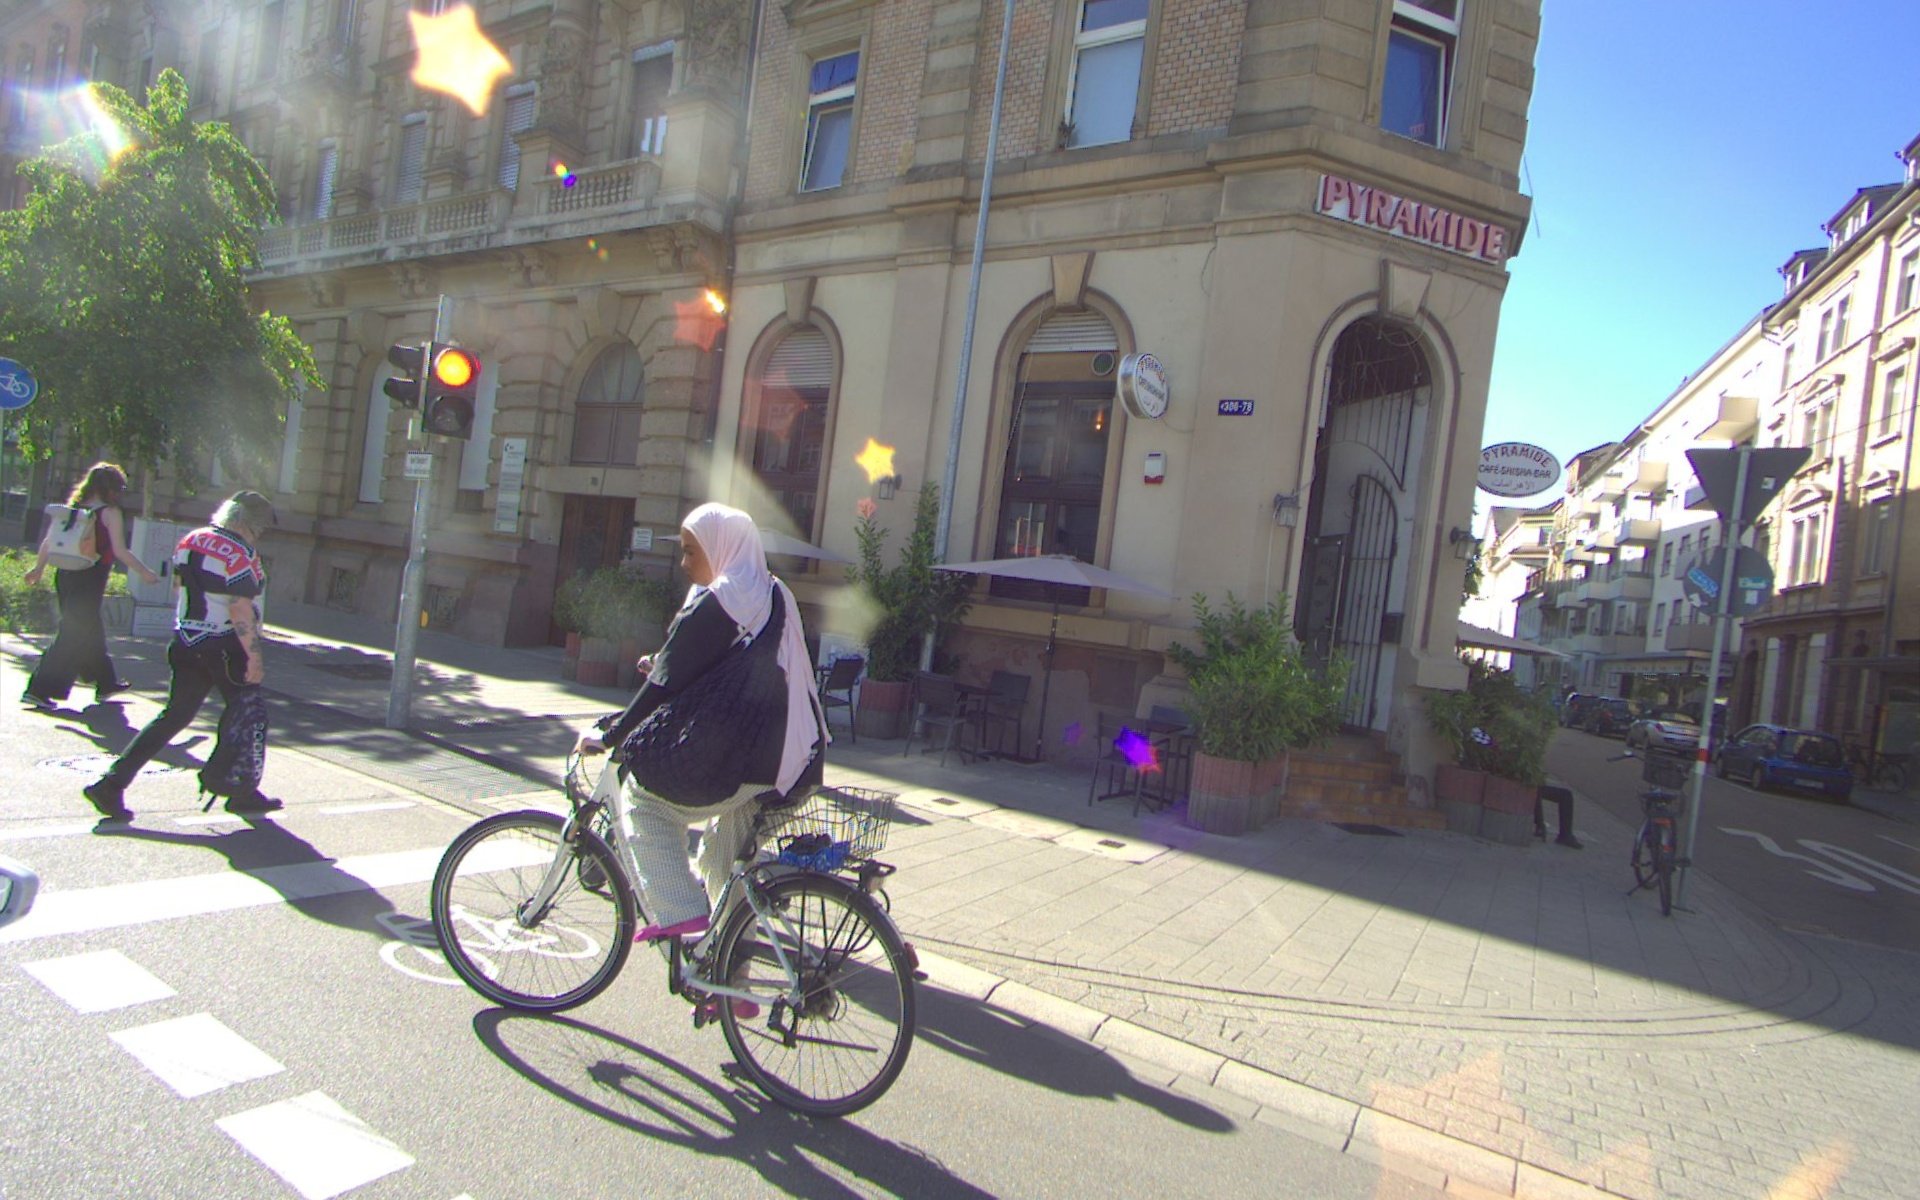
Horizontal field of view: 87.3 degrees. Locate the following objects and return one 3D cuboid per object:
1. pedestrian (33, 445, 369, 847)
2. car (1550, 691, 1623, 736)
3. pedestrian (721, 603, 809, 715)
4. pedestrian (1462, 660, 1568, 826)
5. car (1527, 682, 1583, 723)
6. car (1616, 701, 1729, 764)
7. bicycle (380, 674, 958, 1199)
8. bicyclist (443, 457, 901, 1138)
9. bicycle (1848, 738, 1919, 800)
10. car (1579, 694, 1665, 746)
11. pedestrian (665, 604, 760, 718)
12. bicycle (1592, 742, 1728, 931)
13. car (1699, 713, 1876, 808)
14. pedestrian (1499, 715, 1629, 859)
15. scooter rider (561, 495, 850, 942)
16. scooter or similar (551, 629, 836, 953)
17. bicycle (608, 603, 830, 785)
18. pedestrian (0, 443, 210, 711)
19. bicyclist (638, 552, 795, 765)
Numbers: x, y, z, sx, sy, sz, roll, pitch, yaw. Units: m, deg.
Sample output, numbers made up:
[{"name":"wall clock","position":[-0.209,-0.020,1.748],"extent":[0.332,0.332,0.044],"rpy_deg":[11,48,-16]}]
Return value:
[{"name":"pedestrian","position":[-3.890,0.215,5.197],"extent":[0.953,1.809,0.867],"rpy_deg":[7,-1,25]},{"name":"car","position":[25.851,4.650,41.655],"extent":[1.769,1.449,3.773],"rpy_deg":[7,-1,22]},{"name":"pedestrian","position":[-2.360,0.703,12.192],"extent":[0.624,1.252,0.706],"rpy_deg":[7,2,31]},{"name":"pedestrian","position":[6.608,1.679,12.039],"extent":[0.852,1.781,0.909],"rpy_deg":[7,-1,25]},{"name":"car","position":[30.111,5.145,51.015],"extent":[1.769,1.685,3.772],"rpy_deg":[7,-1,23]},{"name":"car","position":[21.832,4.012,30.994],"extent":[1.769,1.350,4.000],"rpy_deg":[9,0,22]},{"name":"bicycle","position":[-0.967,0.917,3.143],"extent":[1.762,1.105,0.558],"rpy_deg":[7,-2,31]},{"name":"bicyclist","position":[-0.869,0.514,3.138],"extent":[0.854,1.731,0.781],"rpy_deg":[7,-2,31]},{"name":"bicycle","position":[22.189,4.011,23.695],"extent":[0.621,1.192,2.014],"rpy_deg":[7,0,1]},{"name":"car","position":[24.070,4.311,36.710],"extent":[1.769,1.449,3.773],"rpy_deg":[7,-1,22]},{"name":"pedestrian","position":[-2.811,0.687,11.442],"extent":[0.624,1.193,0.706],"rpy_deg":[7,2,31]},{"name":"bicycle","position":[5.697,1.841,8.205],"extent":[0.643,1.186,1.818],"rpy_deg":[11,2,35]},{"name":"car","position":[18.503,3.531,22.723],"extent":[1.769,1.437,4.000],"rpy_deg":[9,0,22]},{"name":"pedestrian","position":[6.105,1.858,10.229],"extent":[0.917,1.228,0.852],"rpy_deg":[7,-1,25]},{"name":"scooter rider","position":[-1.207,0.516,4.814],"extent":[0.886,1.882,0.668],"rpy_deg":[7,-1,31]},{"name":"scooter or similar","position":[-1.272,0.844,4.765],"extent":[1.151,1.240,0.492],"rpy_deg":[7,-2,31]},{"name":"bicycle","position":[-2.093,0.763,8.627],"extent":[1.868,1.238,0.584],"rpy_deg":[7,0,31]},{"name":"pedestrian","position":[-6.813,-0.150,7.952],"extent":[0.642,1.932,1.078],"rpy_deg":[7,0,25]},{"name":"bicyclist","position":[-2.096,0.486,8.668],"extent":[0.944,1.659,0.667],"rpy_deg":[7,1,31]}]
